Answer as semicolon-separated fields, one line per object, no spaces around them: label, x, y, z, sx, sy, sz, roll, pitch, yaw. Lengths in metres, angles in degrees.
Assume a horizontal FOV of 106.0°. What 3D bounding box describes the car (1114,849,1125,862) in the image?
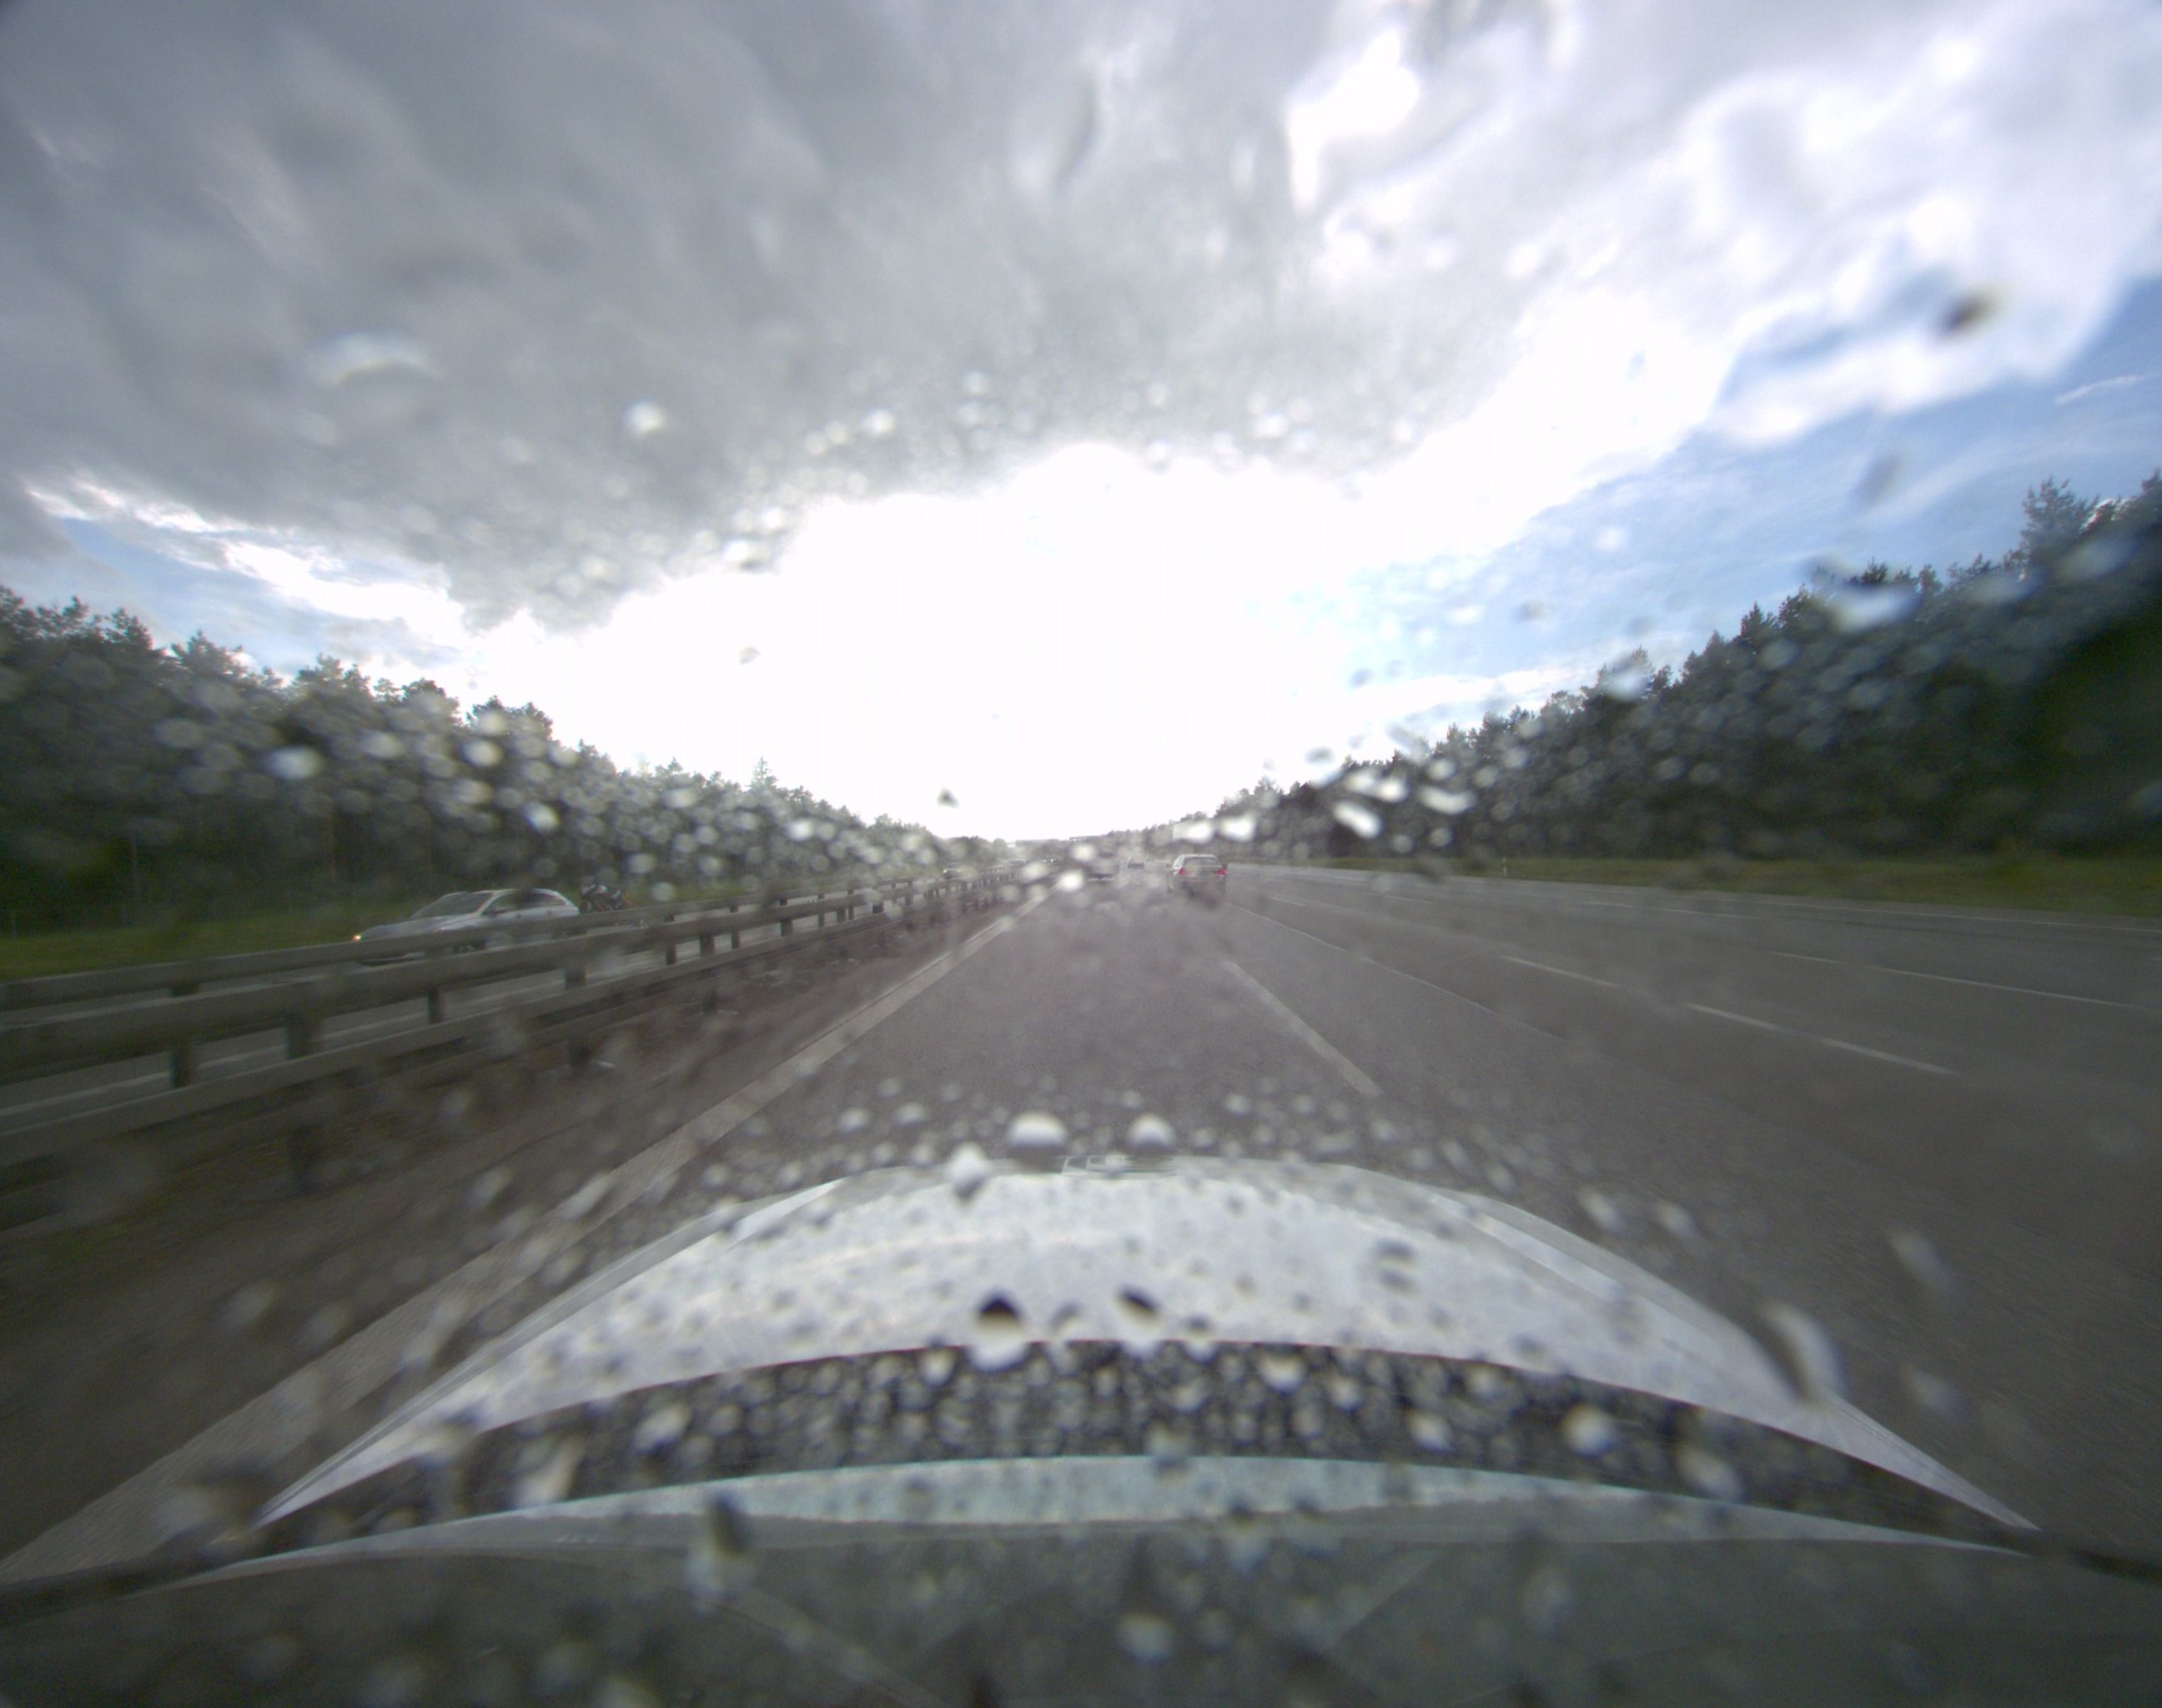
car;6.548;0.245;138.327;1.900;2.013;4.002;-1;0;2

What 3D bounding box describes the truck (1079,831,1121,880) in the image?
truck;1.089;0.072;45.233;2.129;2.489;5.314;-1;0;2

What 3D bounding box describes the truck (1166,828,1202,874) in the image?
truck;9.067;-0.272;72.263;2.287;3.868;5.389;-2;0;-1

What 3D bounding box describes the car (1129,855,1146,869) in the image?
car;6.356;0.887;92.044;1.823;1.466;4.004;-1;0;3

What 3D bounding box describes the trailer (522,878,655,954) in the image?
trailer;-12.856;1.569;21.475;1.476;1.672;3.208;-4;0;0

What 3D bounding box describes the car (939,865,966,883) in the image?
car;-11.536;1.761;73.456;1.722;1.481;3.999;-3;0;0

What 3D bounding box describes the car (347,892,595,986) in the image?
car;-12.794;1.702;17.552;1.823;1.420;4.572;-4;0;0

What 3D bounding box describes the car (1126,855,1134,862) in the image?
car;11.319;0.992;188.291;1.736;1.688;3.998;-1;0;-1

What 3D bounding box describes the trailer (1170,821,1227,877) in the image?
trailer;9.162;-0.347;64.955;2.317;4.001;13.405;-1;0;-1

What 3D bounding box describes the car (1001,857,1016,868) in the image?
car;-11.014;1.311;123.956;1.805;1.422;4.237;-4;0;1

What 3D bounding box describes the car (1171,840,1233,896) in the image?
car;4.470;0.471;30.772;2.067;1.885;5.020;-2;0;6

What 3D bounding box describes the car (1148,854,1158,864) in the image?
car;14.758;0.968;167.127;1.986;2.013;4.002;0;0;2
